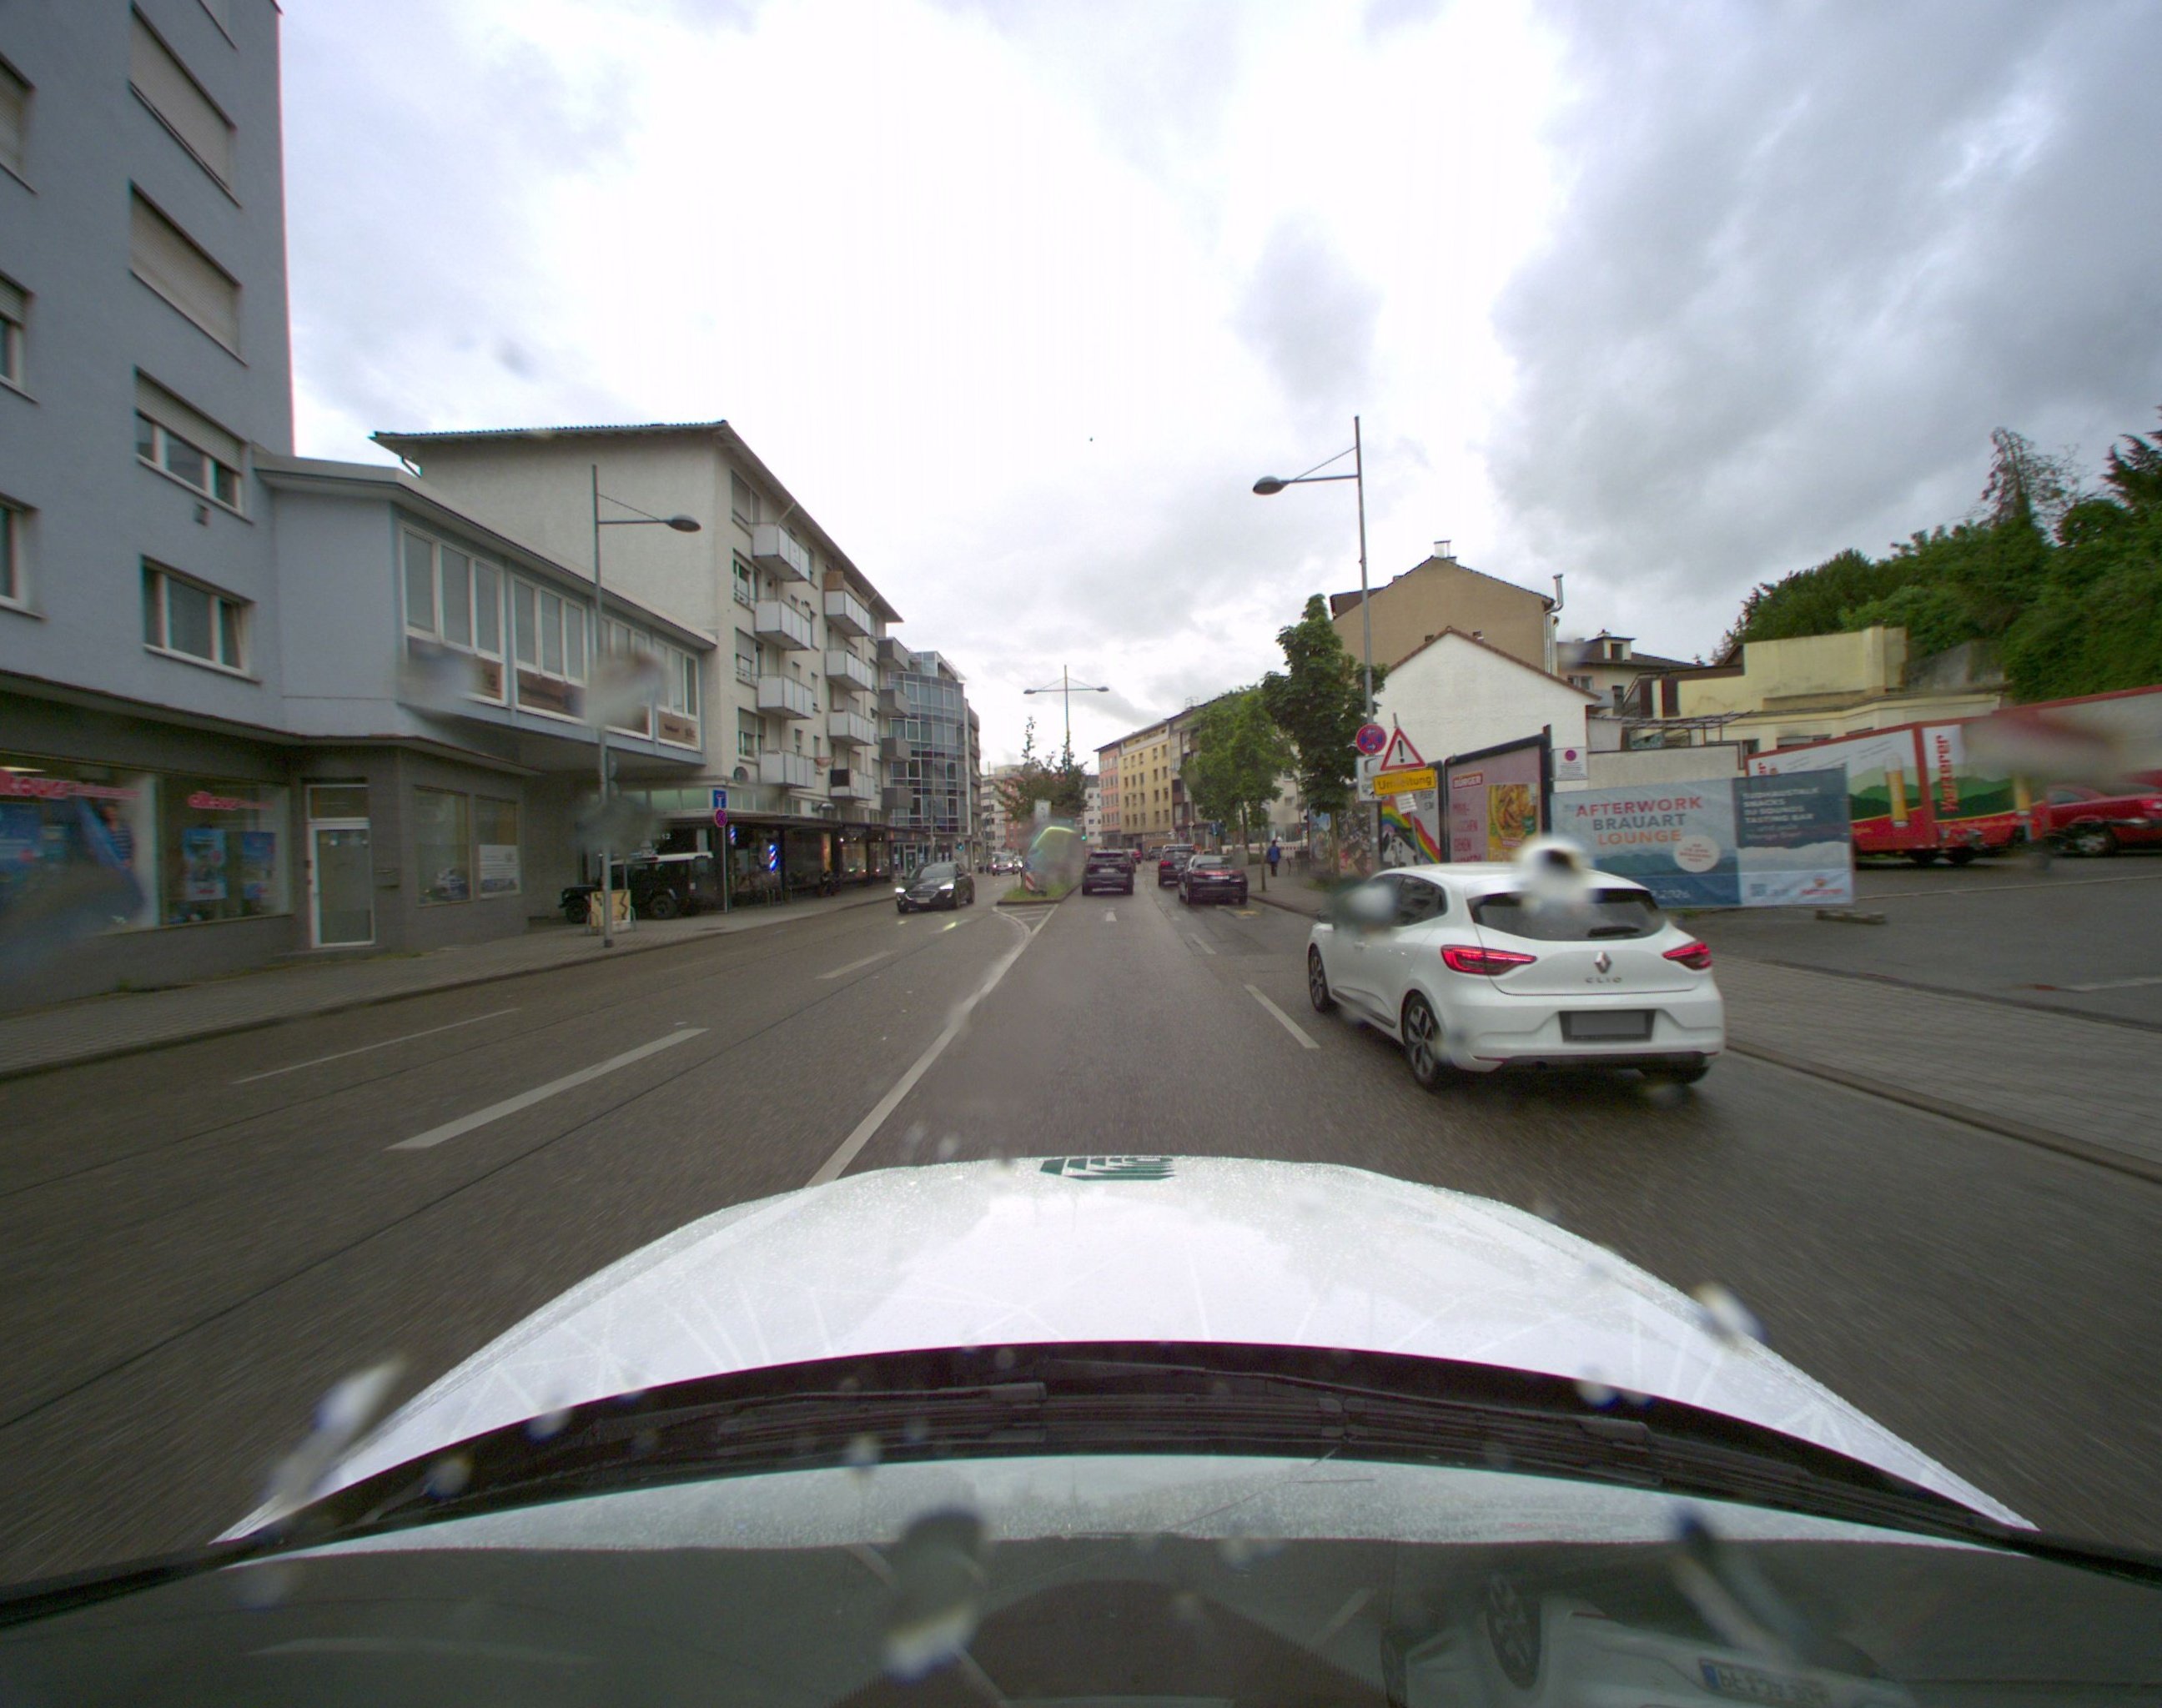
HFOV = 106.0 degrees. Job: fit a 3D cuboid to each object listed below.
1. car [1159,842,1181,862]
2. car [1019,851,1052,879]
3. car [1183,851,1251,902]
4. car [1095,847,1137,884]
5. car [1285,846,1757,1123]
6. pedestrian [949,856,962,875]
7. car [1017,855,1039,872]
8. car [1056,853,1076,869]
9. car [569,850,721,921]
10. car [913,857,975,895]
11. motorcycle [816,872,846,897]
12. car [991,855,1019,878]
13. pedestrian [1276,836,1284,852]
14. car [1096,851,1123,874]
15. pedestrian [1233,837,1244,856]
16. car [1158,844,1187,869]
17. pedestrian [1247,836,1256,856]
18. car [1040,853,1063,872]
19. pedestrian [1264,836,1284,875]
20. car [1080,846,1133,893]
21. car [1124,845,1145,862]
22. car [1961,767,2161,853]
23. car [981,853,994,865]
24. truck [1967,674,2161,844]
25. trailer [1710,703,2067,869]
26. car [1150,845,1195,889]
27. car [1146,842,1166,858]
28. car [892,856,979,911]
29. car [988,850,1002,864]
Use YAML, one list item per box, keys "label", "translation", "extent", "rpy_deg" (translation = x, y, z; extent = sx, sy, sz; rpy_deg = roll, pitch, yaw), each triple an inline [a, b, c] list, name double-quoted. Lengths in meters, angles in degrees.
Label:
- label: "car"
  translation: [7.677, -0.192, 70.281]
  extent: [1.821, 1.683, 3.725]
  rpy_deg: [0, 1, 6]
- label: "car"
  translation: [-3.004, 0.696, 54.013]
  extent: [1.677, 1.661, 4.099]
  rpy_deg: [-4, 0, 2]
- label: "car"
  translation: [4.063, 0.636, 24.761]
  extent: [1.778, 1.400, 3.724]
  rpy_deg: [-1, 0, 6]
- label: "car"
  translation: [1.621, 0.492, 37.770]
  extent: [1.816, 1.600, 3.721]
  rpy_deg: [0, 0, 3]
- label: "car"
  translation: [2.948, 0.713, 6.488]
  extent: [1.659, 1.396, 3.867]
  rpy_deg: [-4, 1, 1]
- label: "pedestrian"
  translation: [-10.622, 0.979, 68.974]
  extent: [0.786, 1.591, 0.755]
  rpy_deg: [-3, 0, -35]
- label: "car"
  translation: [-5.039, 0.872, 77.307]
  extent: [1.626, 1.408, 3.439]
  rpy_deg: [-5, 0, 2]
- label: "car"
  translation: [-1.438, 0.650, 77.865]
  extent: [1.664, 1.369, 3.754]
  rpy_deg: [-4, 0, 2]
- label: "car"
  translation: [-13.812, 0.981, 25.929]
  extent: [3.944, 2.034, 1.583]
  rpy_deg: [-2, 0, 5]
- label: "car"
  translation: [-6.242, 0.956, 37.667]
  extent: [1.701, 1.467, 4.832]
  rpy_deg: [-5, 0, 2]
- label: "motorcycle"
  translation: [-10.970, 1.331, 35.839]
  extent: [0.523, 0.995, 2.138]
  rpy_deg: [0, 0, 3]
- label: "car"
  translation: [-5.850, 0.929, 63.118]
  extent: [1.626, 1.591, 3.938]
  rpy_deg: [-5, 0, 2]
- label: "pedestrian"
  translation: [20.865, -1.049, 85.450]
  extent: [0.531, 1.769, 0.617]
  rpy_deg: [0, 1, -28]
- label: "car"
  translation: [1.837, 0.530, 53.741]
  extent: [1.635, 1.381, 3.348]
  rpy_deg: [-4, 0, 1]
- label: "pedestrian"
  translation: [16.213, -0.782, 83.692]
  extent: [0.823, 2.013, 0.835]
  rpy_deg: [0, 1, -17]
- label: "car"
  translation: [6.133, 0.164, 54.893]
  extent: [1.822, 1.562, 3.723]
  rpy_deg: [0, 1, 4]
- label: "pedestrian"
  translation: [17.365, -0.819, 82.925]
  extent: [0.815, 2.013, 0.844]
  rpy_deg: [0, 1, 20]
- label: "car"
  translation: [-2.386, 0.646, 67.513]
  extent: [1.527, 1.412, 3.939]
  rpy_deg: [-5, 0, 2]
- label: "pedestrian"
  translation: [9.069, 0.048, 38.233]
  extent: [0.785, 1.755, 0.875]
  rpy_deg: [-4, 0, 15]
- label: "car"
  translation: [0.977, 0.524, 29.969]
  extent: [1.816, 1.600, 3.721]
  rpy_deg: [0, 0, 3]
- label: "car"
  translation: [4.886, -0.024, 74.346]
  extent: [1.635, 1.381, 3.348]
  rpy_deg: [-4, 0, 1]
- label: "car"
  translation: [19.249, -0.811, 15.502]
  extent: [1.582, 1.456, 3.270]
  rpy_deg: [-3, 0, 6]
- label: "car"
  translation: [-12.005, 0.643, 104.559]
  extent: [1.455, 1.430, 3.359]
  rpy_deg: [0, 1, -9]
- label: "truck"
  translation: [21.977, -1.908, 15.671]
  extent: [2.618, 3.215, 6.941]
  rpy_deg: [-4, 0, 6]
- label: "trailer"
  translation: [16.103, -1.220, 16.845]
  extent: [2.117, 2.716, 5.397]
  rpy_deg: [-5, 1, 4]
- label: "car"
  translation: [4.026, 0.550, 36.394]
  extent: [1.822, 1.805, 3.723]
  rpy_deg: [0, 1, 4]
- label: "car"
  translation: [8.114, -0.451, 88.351]
  extent: [1.703, 1.611, 3.725]
  rpy_deg: [0, 1, -2]
- label: "car"
  translation: [-4.433, 0.861, 25.472]
  extent: [1.714, 1.423, 4.167]
  rpy_deg: [-5, 0, 2]
- label: "car"
  translation: [-9.660, 0.351, 91.649]
  extent: [1.548, 1.570, 3.340]
  rpy_deg: [0, 0, -7]
